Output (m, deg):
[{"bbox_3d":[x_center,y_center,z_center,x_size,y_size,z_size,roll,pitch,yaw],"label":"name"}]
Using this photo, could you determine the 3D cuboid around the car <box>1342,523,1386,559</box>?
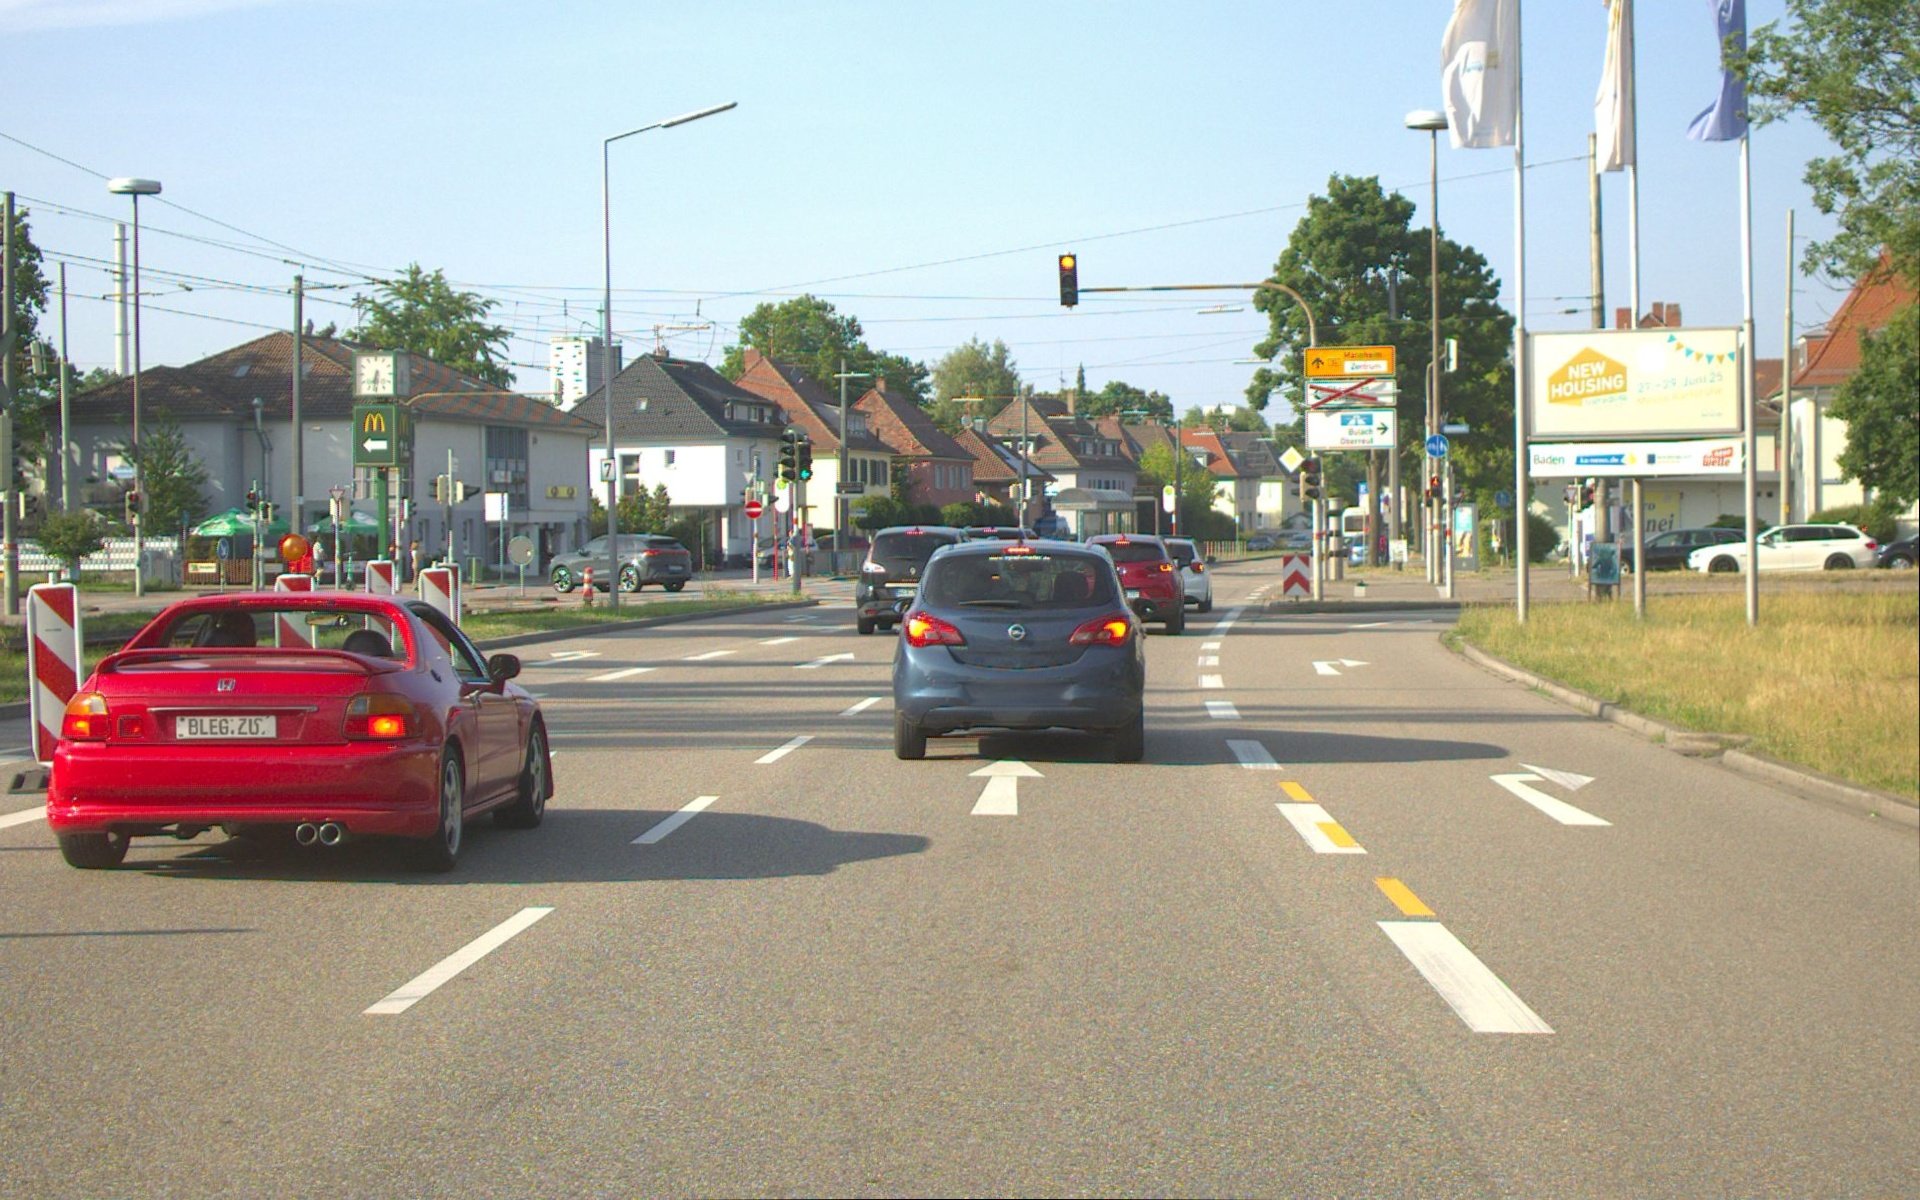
[{"bbox_3d":[16.446,-2.378,139.684,1.675,1.393,3.999,1,1,8],"label":"car"}]

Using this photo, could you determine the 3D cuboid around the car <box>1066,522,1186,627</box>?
[{"bbox_3d":[2.614,-0.420,53.437,1.706,1.546,3.977,-1,1,5],"label":"car"}]

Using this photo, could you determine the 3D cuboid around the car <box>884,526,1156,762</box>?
[{"bbox_3d":[0.346,0.239,24.481,1.741,1.500,4.223,-1,2,-2],"label":"car"}]

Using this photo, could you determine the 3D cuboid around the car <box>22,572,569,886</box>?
[{"bbox_3d":[-2.974,0.518,16.170,1.731,1.202,3.847,1,1,1],"label":"car"}]

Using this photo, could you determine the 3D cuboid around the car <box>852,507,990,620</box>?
[{"bbox_3d":[-0.557,-0.586,52.697,1.764,1.665,4.084,0,1,4],"label":"car"}]

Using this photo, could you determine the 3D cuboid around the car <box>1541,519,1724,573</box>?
[{"bbox_3d":[18.405,-1.478,94.291,4.825,1.406,1.715,-1,1,8],"label":"car"}]

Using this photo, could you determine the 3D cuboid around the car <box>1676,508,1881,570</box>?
[{"bbox_3d":[21.493,-1.605,90.435,5.096,1.557,1.839,-1,1,8],"label":"car"}]

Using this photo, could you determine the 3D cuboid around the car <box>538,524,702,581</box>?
[{"bbox_3d":[-9.264,-1.301,93.706,3.992,1.481,1.997,0,1,25],"label":"car"}]

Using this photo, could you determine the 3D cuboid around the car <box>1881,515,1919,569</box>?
[{"bbox_3d":[27.123,-1.600,93.169,3.988,1.448,1.715,-1,1,8],"label":"car"}]

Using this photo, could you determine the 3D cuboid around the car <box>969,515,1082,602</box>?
[{"bbox_3d":[1.328,-0.850,67.841,1.507,1.645,4.742,0,1,10],"label":"car"}]

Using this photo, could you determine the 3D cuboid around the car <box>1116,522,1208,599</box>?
[{"bbox_3d":[3.951,-0.788,66.823,1.656,1.438,4.014,-1,1,5],"label":"car"}]
